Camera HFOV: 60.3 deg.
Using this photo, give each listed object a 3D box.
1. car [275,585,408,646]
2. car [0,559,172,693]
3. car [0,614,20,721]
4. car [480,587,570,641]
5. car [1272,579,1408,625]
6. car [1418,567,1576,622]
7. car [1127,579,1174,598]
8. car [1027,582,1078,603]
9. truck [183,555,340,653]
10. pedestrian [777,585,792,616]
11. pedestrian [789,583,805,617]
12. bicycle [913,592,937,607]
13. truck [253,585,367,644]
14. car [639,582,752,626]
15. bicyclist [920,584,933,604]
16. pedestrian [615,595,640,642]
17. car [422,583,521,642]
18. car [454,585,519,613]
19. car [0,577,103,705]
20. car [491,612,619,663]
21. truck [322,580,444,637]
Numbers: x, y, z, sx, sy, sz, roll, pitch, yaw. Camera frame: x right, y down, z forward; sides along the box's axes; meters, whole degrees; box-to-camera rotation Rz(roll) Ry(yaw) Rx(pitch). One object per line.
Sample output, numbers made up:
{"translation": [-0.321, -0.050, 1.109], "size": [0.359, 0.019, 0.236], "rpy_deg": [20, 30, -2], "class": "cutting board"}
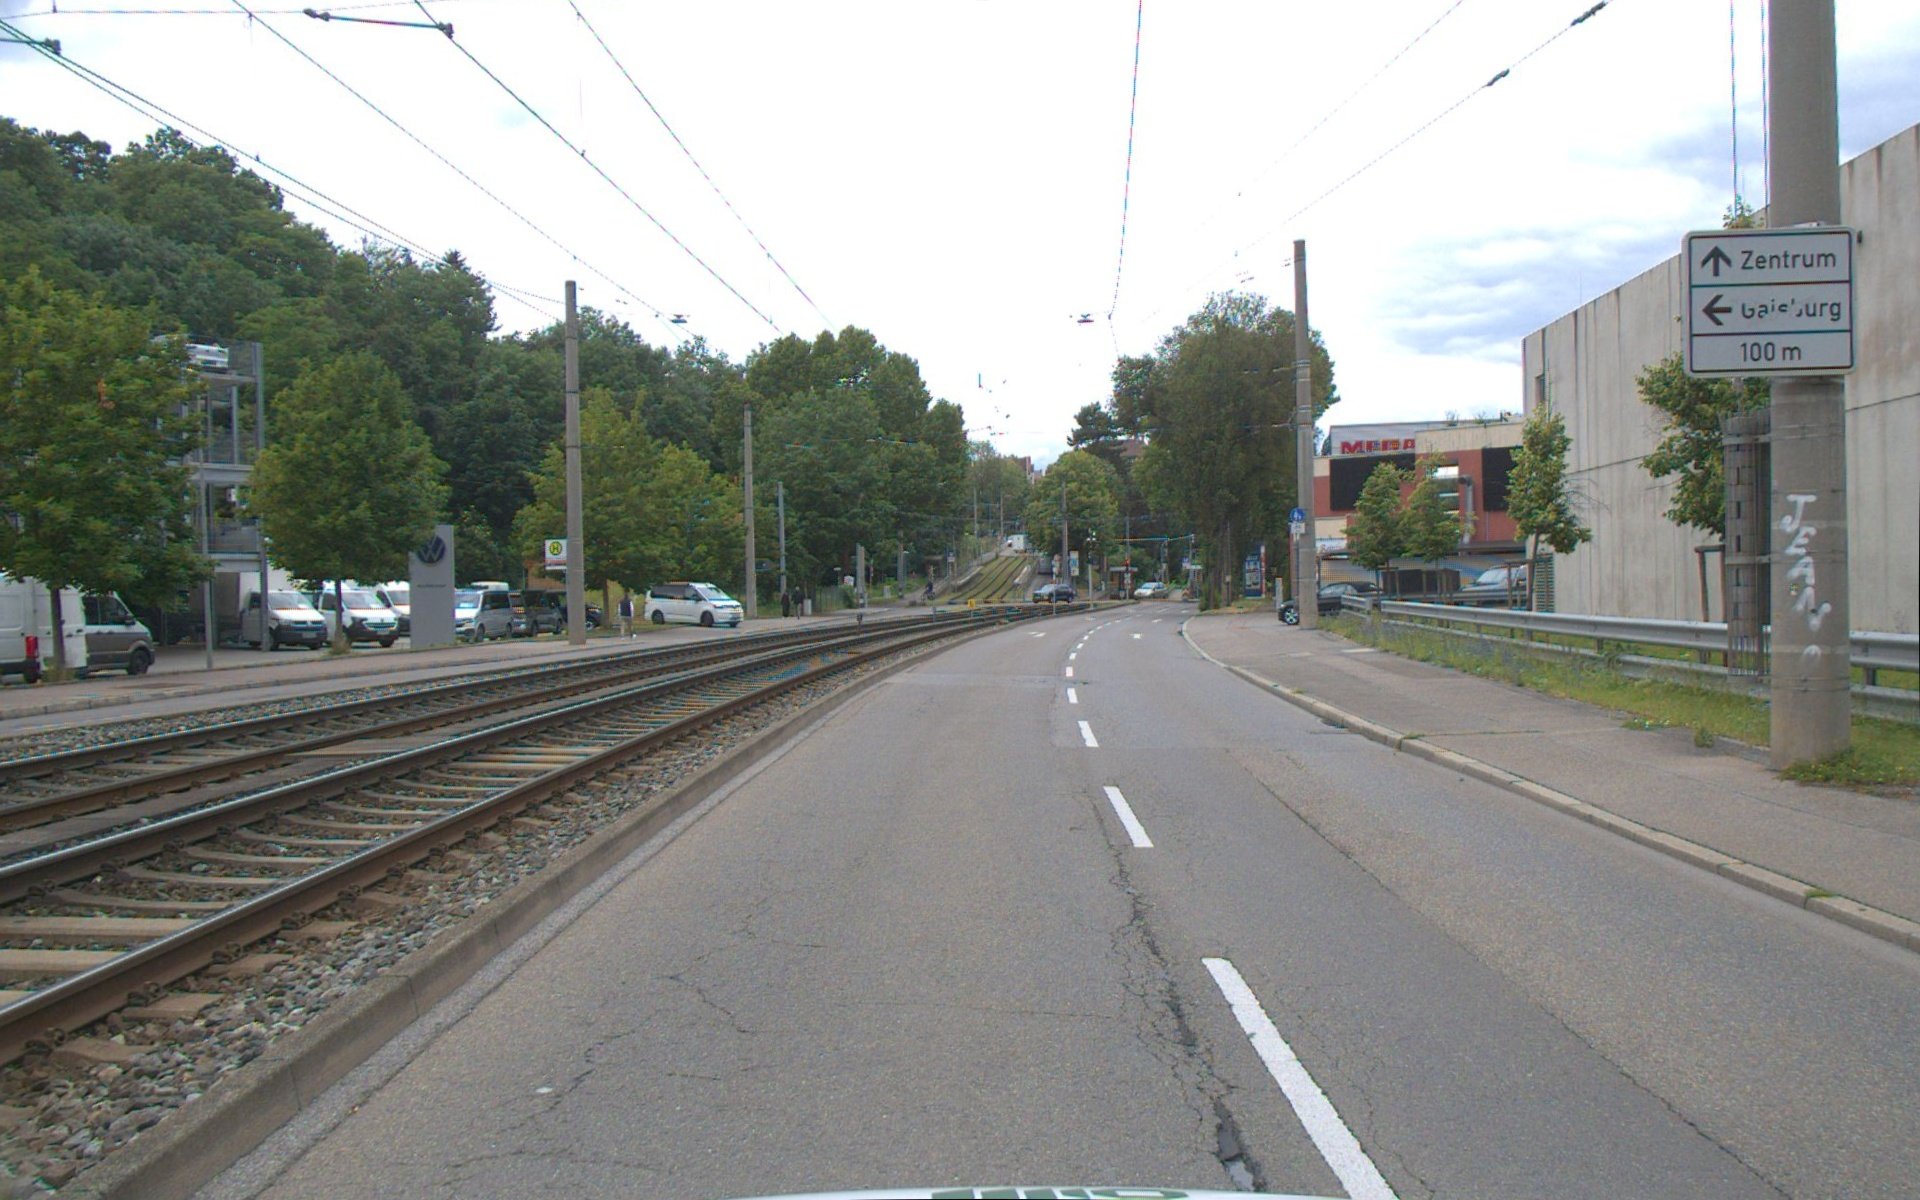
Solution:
{"translation": [-21.765, 0.548, 58.130], "size": [4.631, 2.049, 1.995], "rpy_deg": [-1, 0, 33], "class": "car"}
{"translation": [-22.381, 0.592, 41.127], "size": [2.063, 3.072, 5.941], "rpy_deg": [-1, 0, 8], "class": "car"}
{"translation": [-21.585, 1.418, 33.186], "size": [4.275, 2.142, 2.005], "rpy_deg": [-1, 0, 2], "class": "car"}
{"translation": [-17.760, 0.534, 67.757], "size": [1.951, 2.049, 5.132], "rpy_deg": [-1, 0, 4], "class": "car"}
{"translation": [12.911, 0.074, 56.310], "size": [4.146, 1.468, 1.758], "rpy_deg": [-1, 0, 34], "class": "car"}
{"translation": [17.434, -0.177, 53.750], "size": [4.434, 1.575, 2.151], "rpy_deg": [-2, -1, -17], "class": "car"}
{"translation": [17.000, -1.001, 147.598], "size": [4.220, 1.559, 1.867], "rpy_deg": [0, -3, -42], "class": "car"}
{"translation": [7.585, -0.592, 135.286], "size": [4.219, 1.559, 1.666], "rpy_deg": [0, -4, -42], "class": "car"}
{"translation": [-23.553, 0.170, 55.678], "size": [5.818, 3.139, 2.112], "rpy_deg": [-1, 0, 35], "class": "truck"}
{"translation": [-9.717, 0.022, 91.545], "size": [0.614, 1.743, 0.856], "rpy_deg": [1, 0, 8], "class": "pedestrian"}
{"translation": [-8.997, -0.005, 91.470], "size": [0.662, 1.845, 0.856], "rpy_deg": [1, 0, 8], "class": "pedestrian"}
{"translation": [-3.338, -0.065, 156.756], "size": [0.816, 1.367, 2.962], "rpy_deg": [-1, 0, -33], "class": "bicycle"}
{"translation": [-30.600, 0.686, 77.822], "size": [4.962, 2.633, 2.464], "rpy_deg": [-1, 0, 31], "class": "truck"}
{"translation": [-12.214, 0.176, 76.335], "size": [4.964, 1.921, 2.161], "rpy_deg": [1, 0, 32], "class": "car"}
{"translation": [-3.166, -0.568, 156.461], "size": [0.814, 1.881, 1.039], "rpy_deg": [-1, 0, -33], "class": "bicyclist"}
{"translation": [-12.179, 0.674, 60.540], "size": [0.703, 1.684, 1.042], "rpy_deg": [1, 0, -2], "class": "pedestrian"}
{"translation": [-18.189, 0.433, 61.839], "size": [1.952, 2.049, 4.921], "rpy_deg": [-1, 0, 4], "class": "car"}
{"translation": [-35.298, -0.067, 123.452], "size": [1.960, 2.049, 4.386], "rpy_deg": [-1, 0, 37], "class": "car"}
{"translation": [-21.877, 0.896, 35.968], "size": [5.357, 2.647, 2.248], "rpy_deg": [-1, 0, 6], "class": "car"}
{"translation": [-17.698, 1.613, 72.327], "size": [5.006, 2.049, 2.143], "rpy_deg": [-2, 0, -32], "class": "car"}
{"translation": [-27.849, 0.426, 79.756], "size": [5.653, 2.633, 2.463], "rpy_deg": [-1, 0, 31], "class": "truck"}
